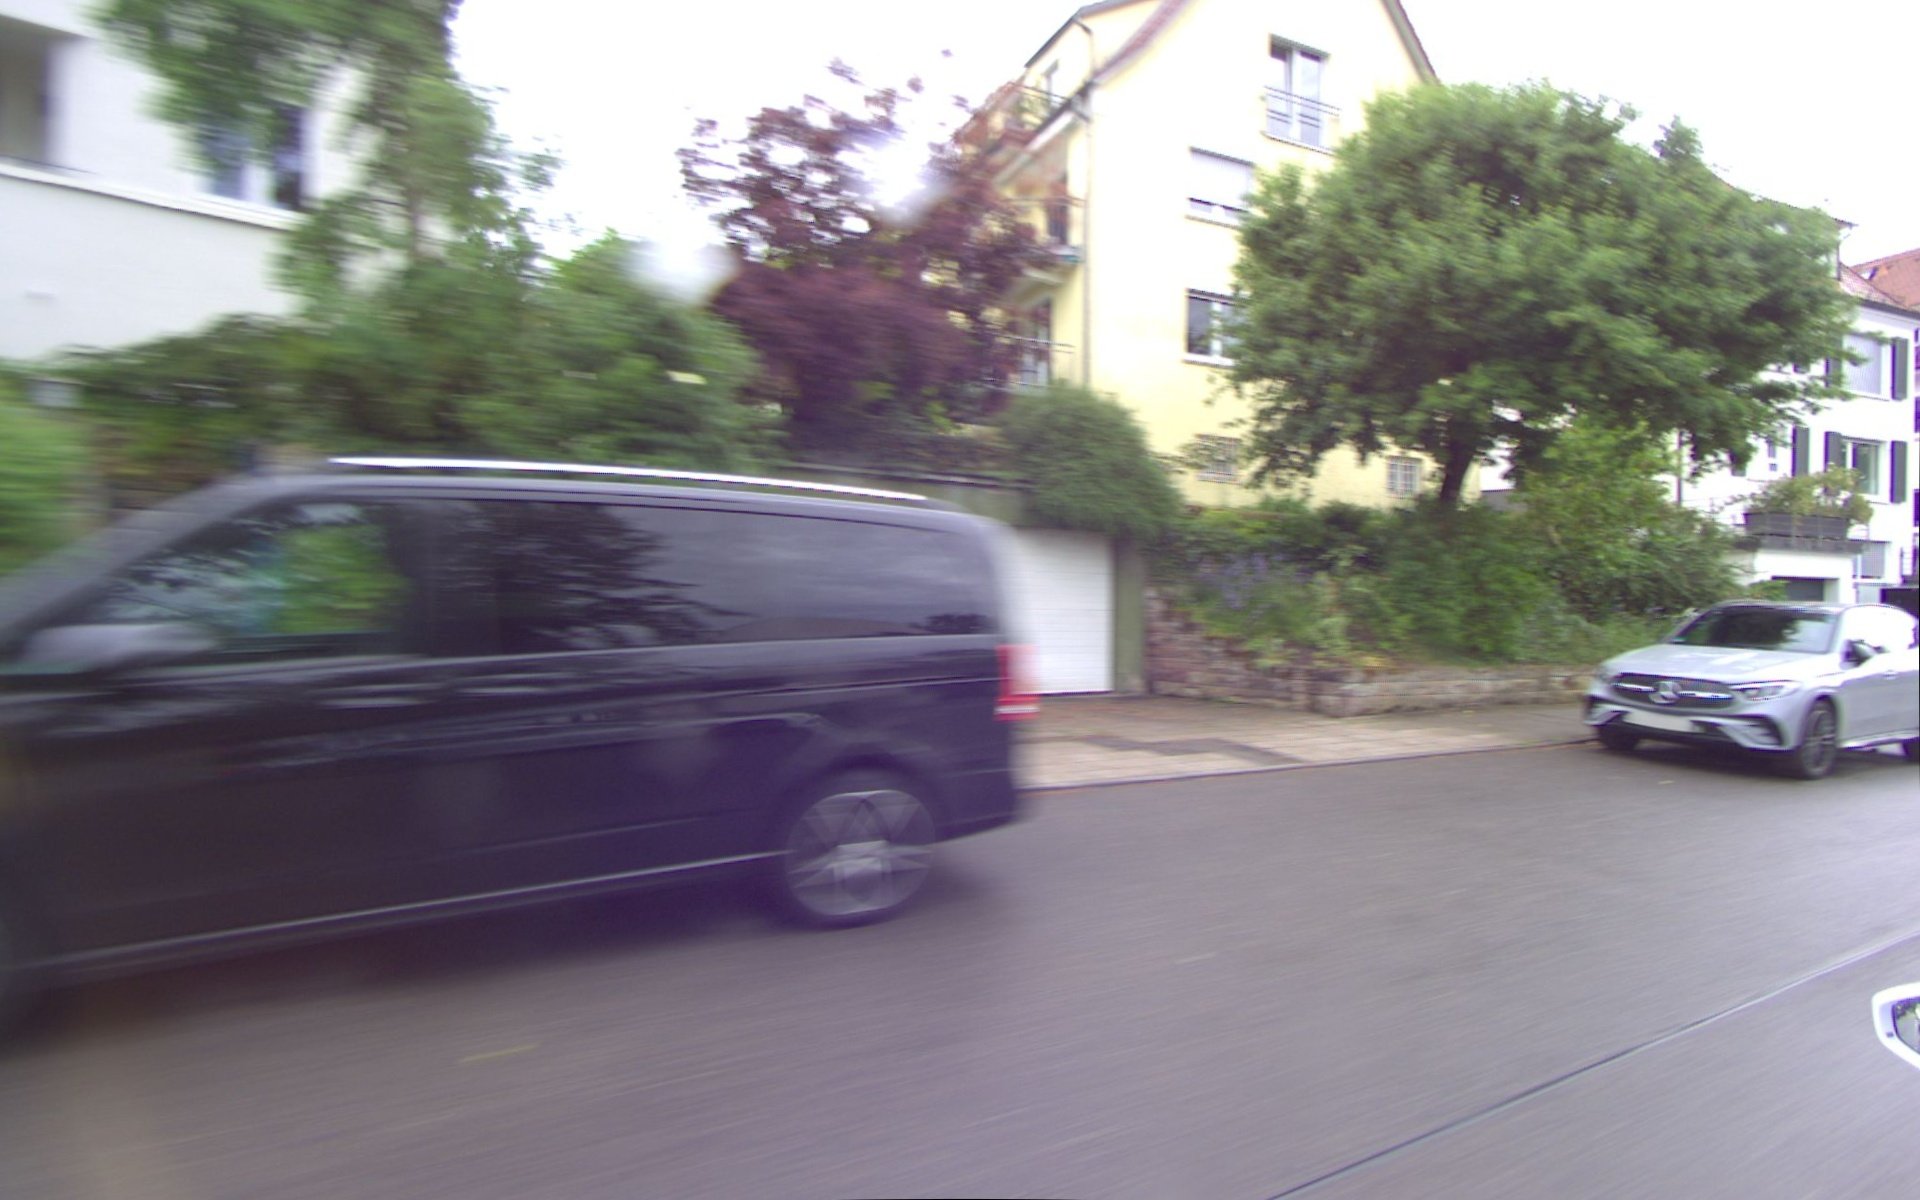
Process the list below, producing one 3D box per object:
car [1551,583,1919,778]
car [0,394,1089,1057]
[{"bbox_3d":[8.715,0.721,10.699,4.702,1.602,1.985,1,3,-29],"label":"car"},{"bbox_3d":[-2.178,0.346,4.351,5.293,1.904,1.984,1,2,-30],"label":"car"}]
